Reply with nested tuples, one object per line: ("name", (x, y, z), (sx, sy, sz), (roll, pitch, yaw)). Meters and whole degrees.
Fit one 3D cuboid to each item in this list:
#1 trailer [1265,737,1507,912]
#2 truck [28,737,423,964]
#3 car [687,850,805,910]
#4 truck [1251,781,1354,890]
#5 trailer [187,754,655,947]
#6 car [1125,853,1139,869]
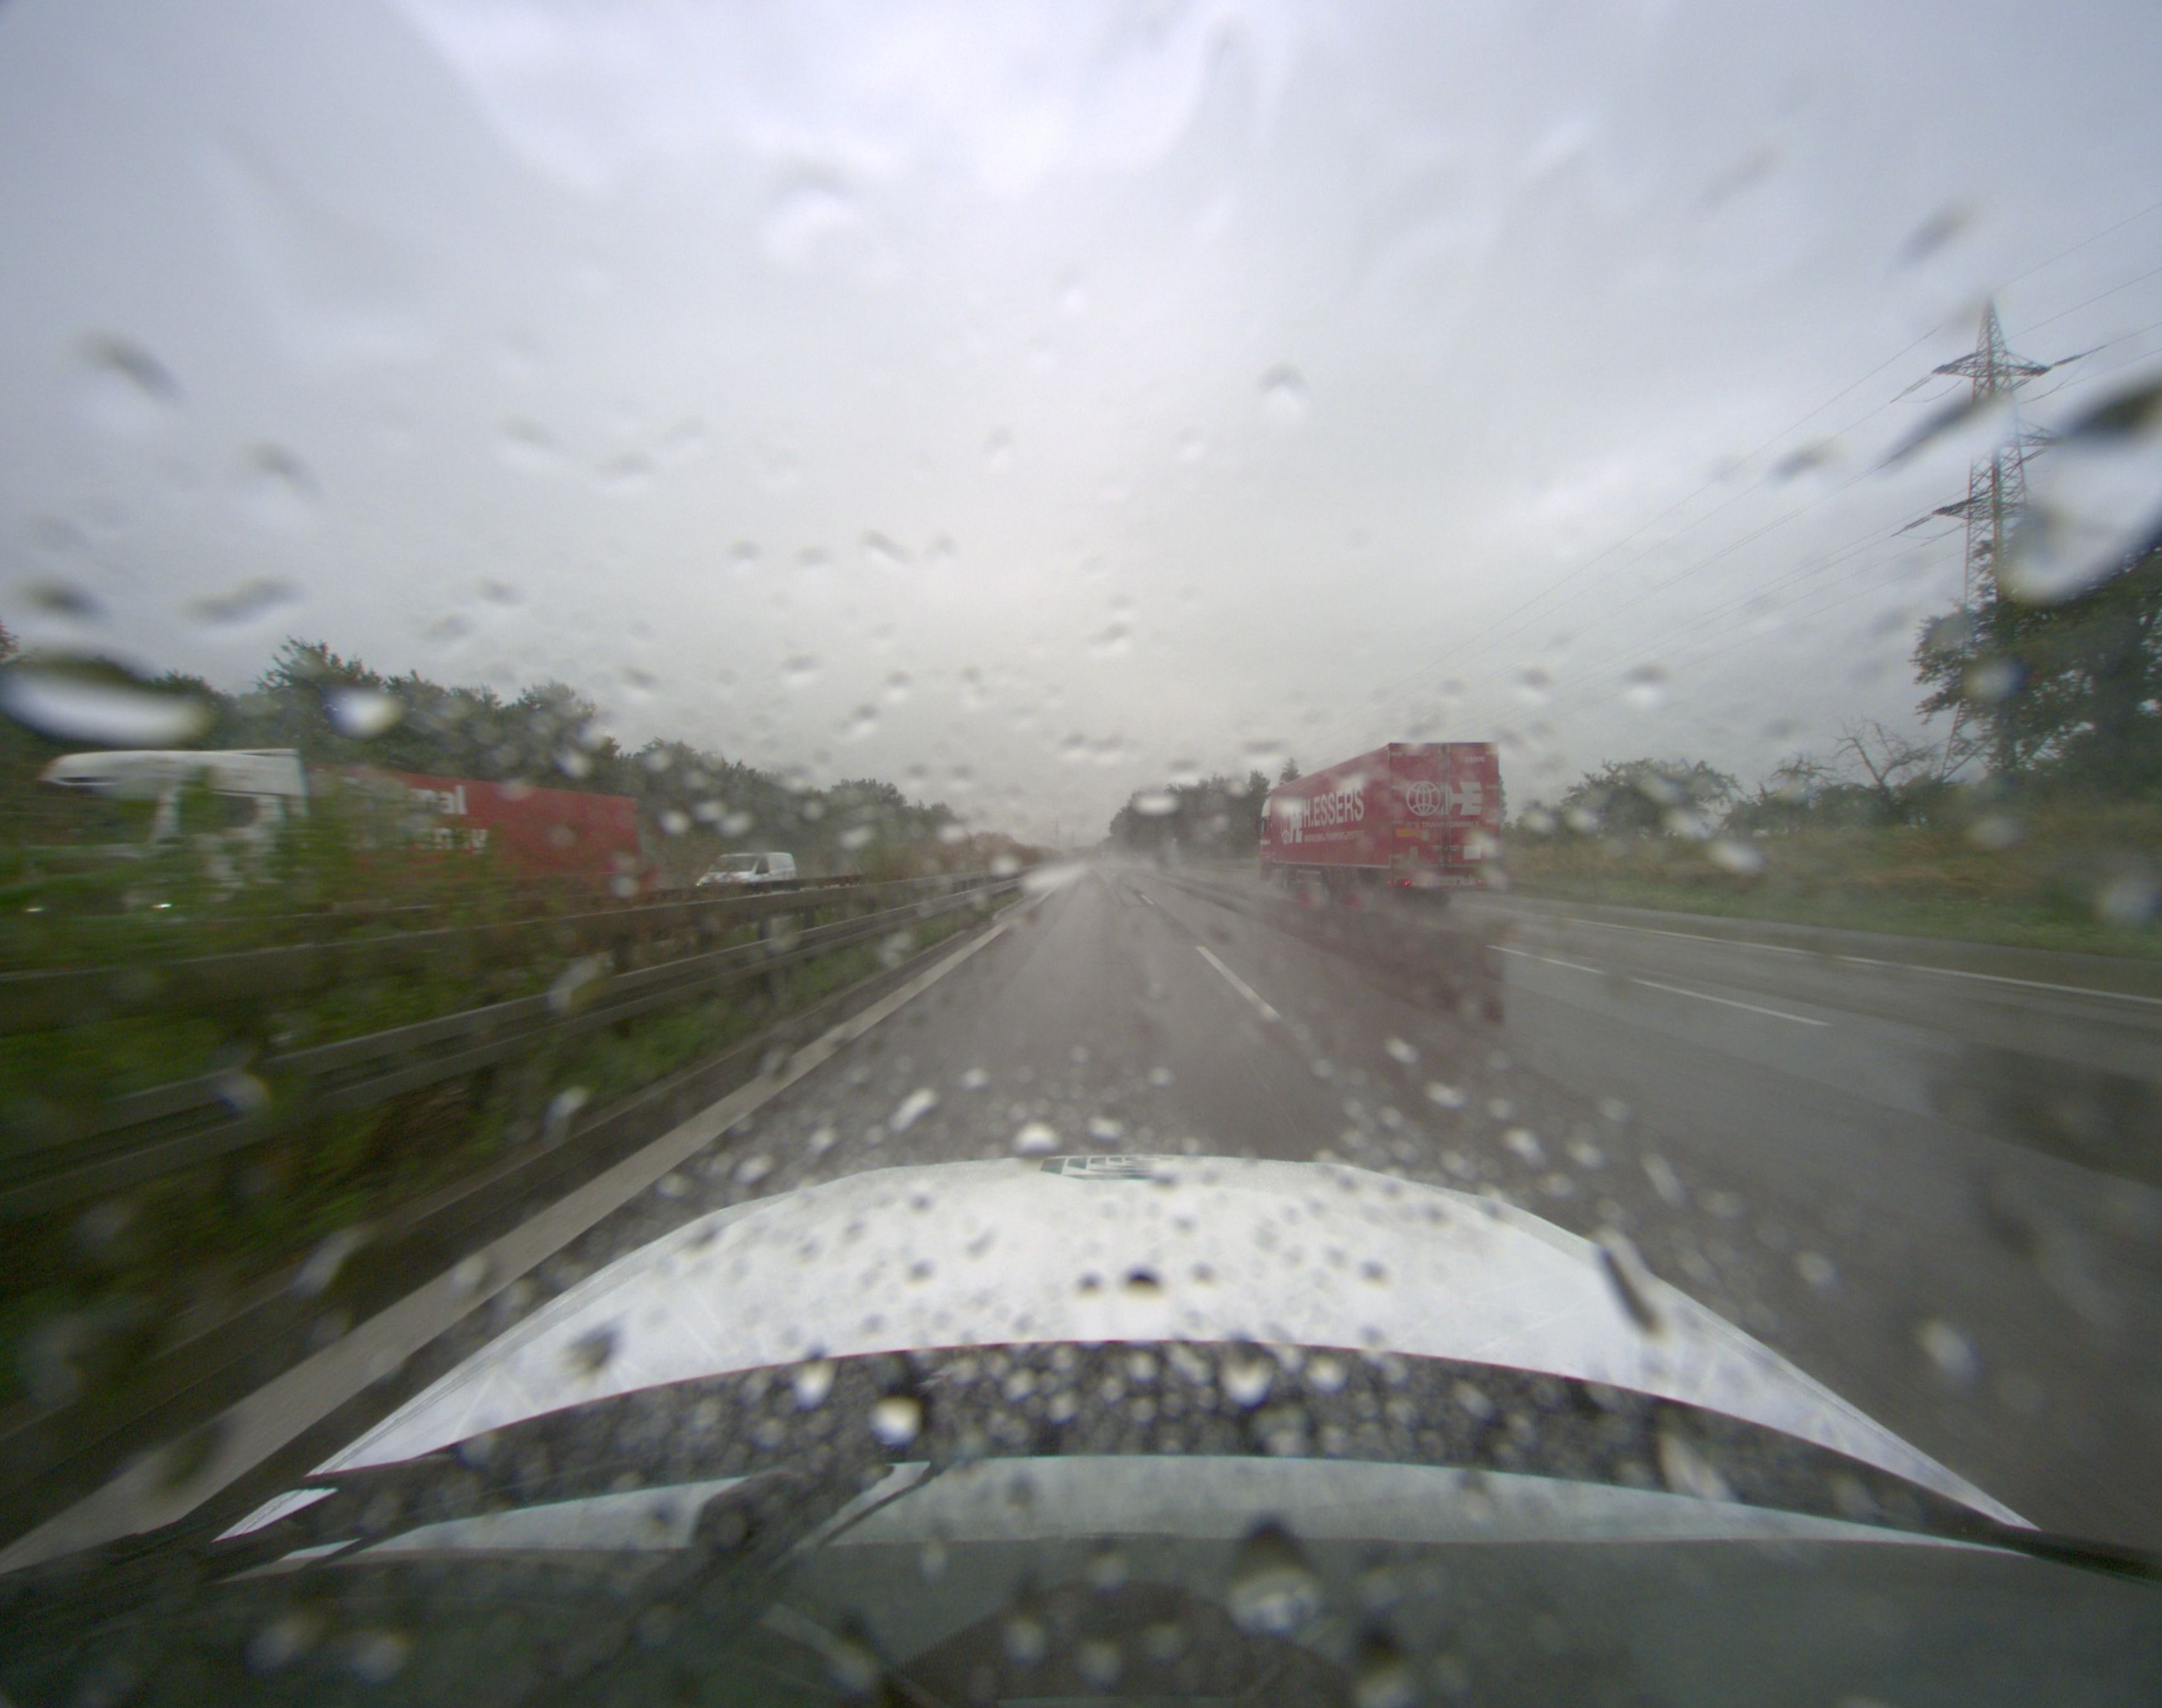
("trailer", (8.588, -0.667, 25.651), (2.611, 3.955, 13.632), (-2, 0, 1))
("truck", (-16.603, -0.051, 16.368), (2.575, 3.831, 4.976), (-1, 0, 2))
("car", (-12.109, 0.877, 29.885), (1.986, 1.970, 5.394), (-1, 0, 1))
("truck", (8.722, -0.683, 32.685), (2.611, 3.955, 5.433), (-2, 0, 1))
("trailer", (-16.409, -0.059, 22.396), (2.589, 3.831, 12.216), (-1, 0, 2))
("car", (7.441, 1.011, 119.570), (1.801, 2.158, 4.001), (-1, 0, 1))
